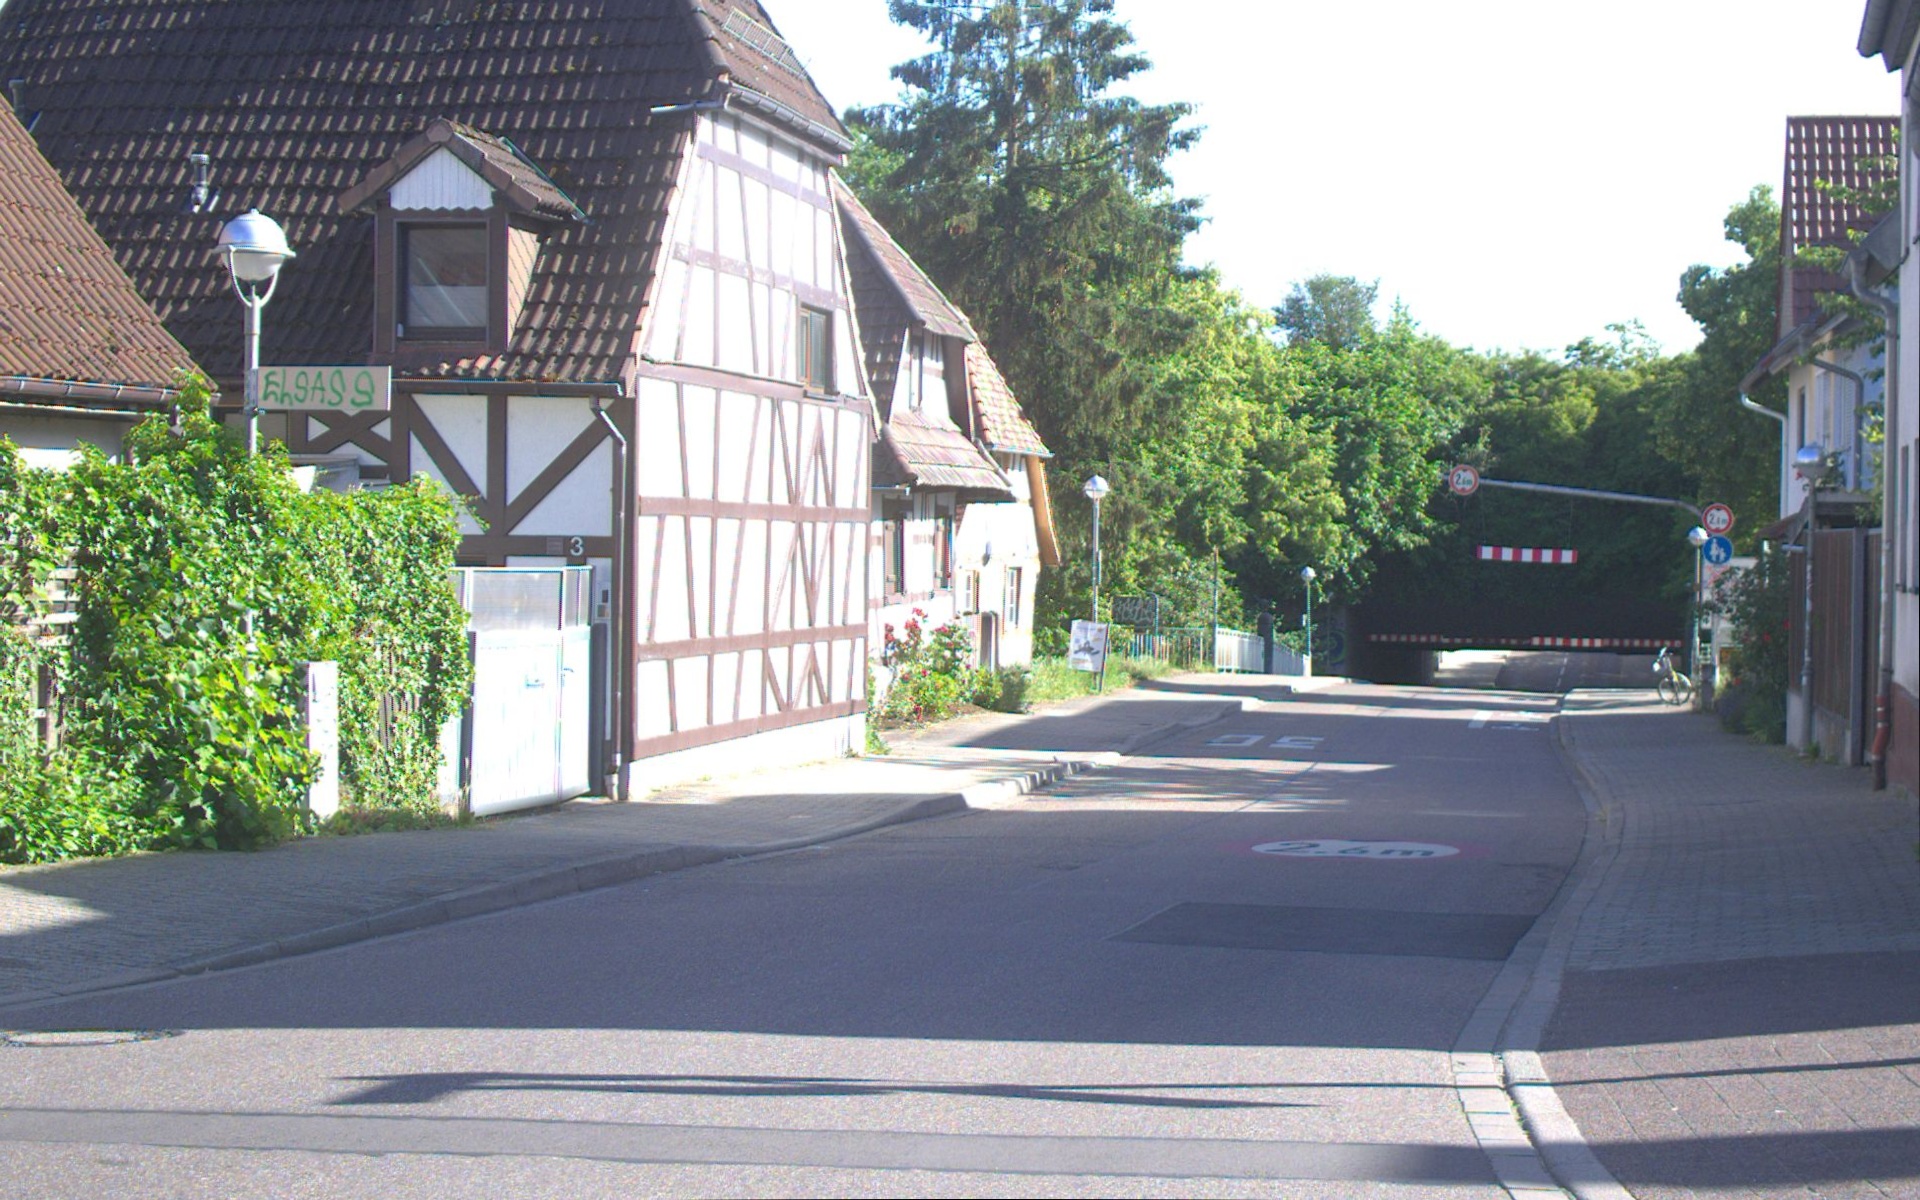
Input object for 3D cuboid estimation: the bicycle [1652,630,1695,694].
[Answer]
[{"bbox_3d":[13.603,1.171,65.581,0.689,1.153,1.539,-3,0,10],"label":"bicycle"}]
